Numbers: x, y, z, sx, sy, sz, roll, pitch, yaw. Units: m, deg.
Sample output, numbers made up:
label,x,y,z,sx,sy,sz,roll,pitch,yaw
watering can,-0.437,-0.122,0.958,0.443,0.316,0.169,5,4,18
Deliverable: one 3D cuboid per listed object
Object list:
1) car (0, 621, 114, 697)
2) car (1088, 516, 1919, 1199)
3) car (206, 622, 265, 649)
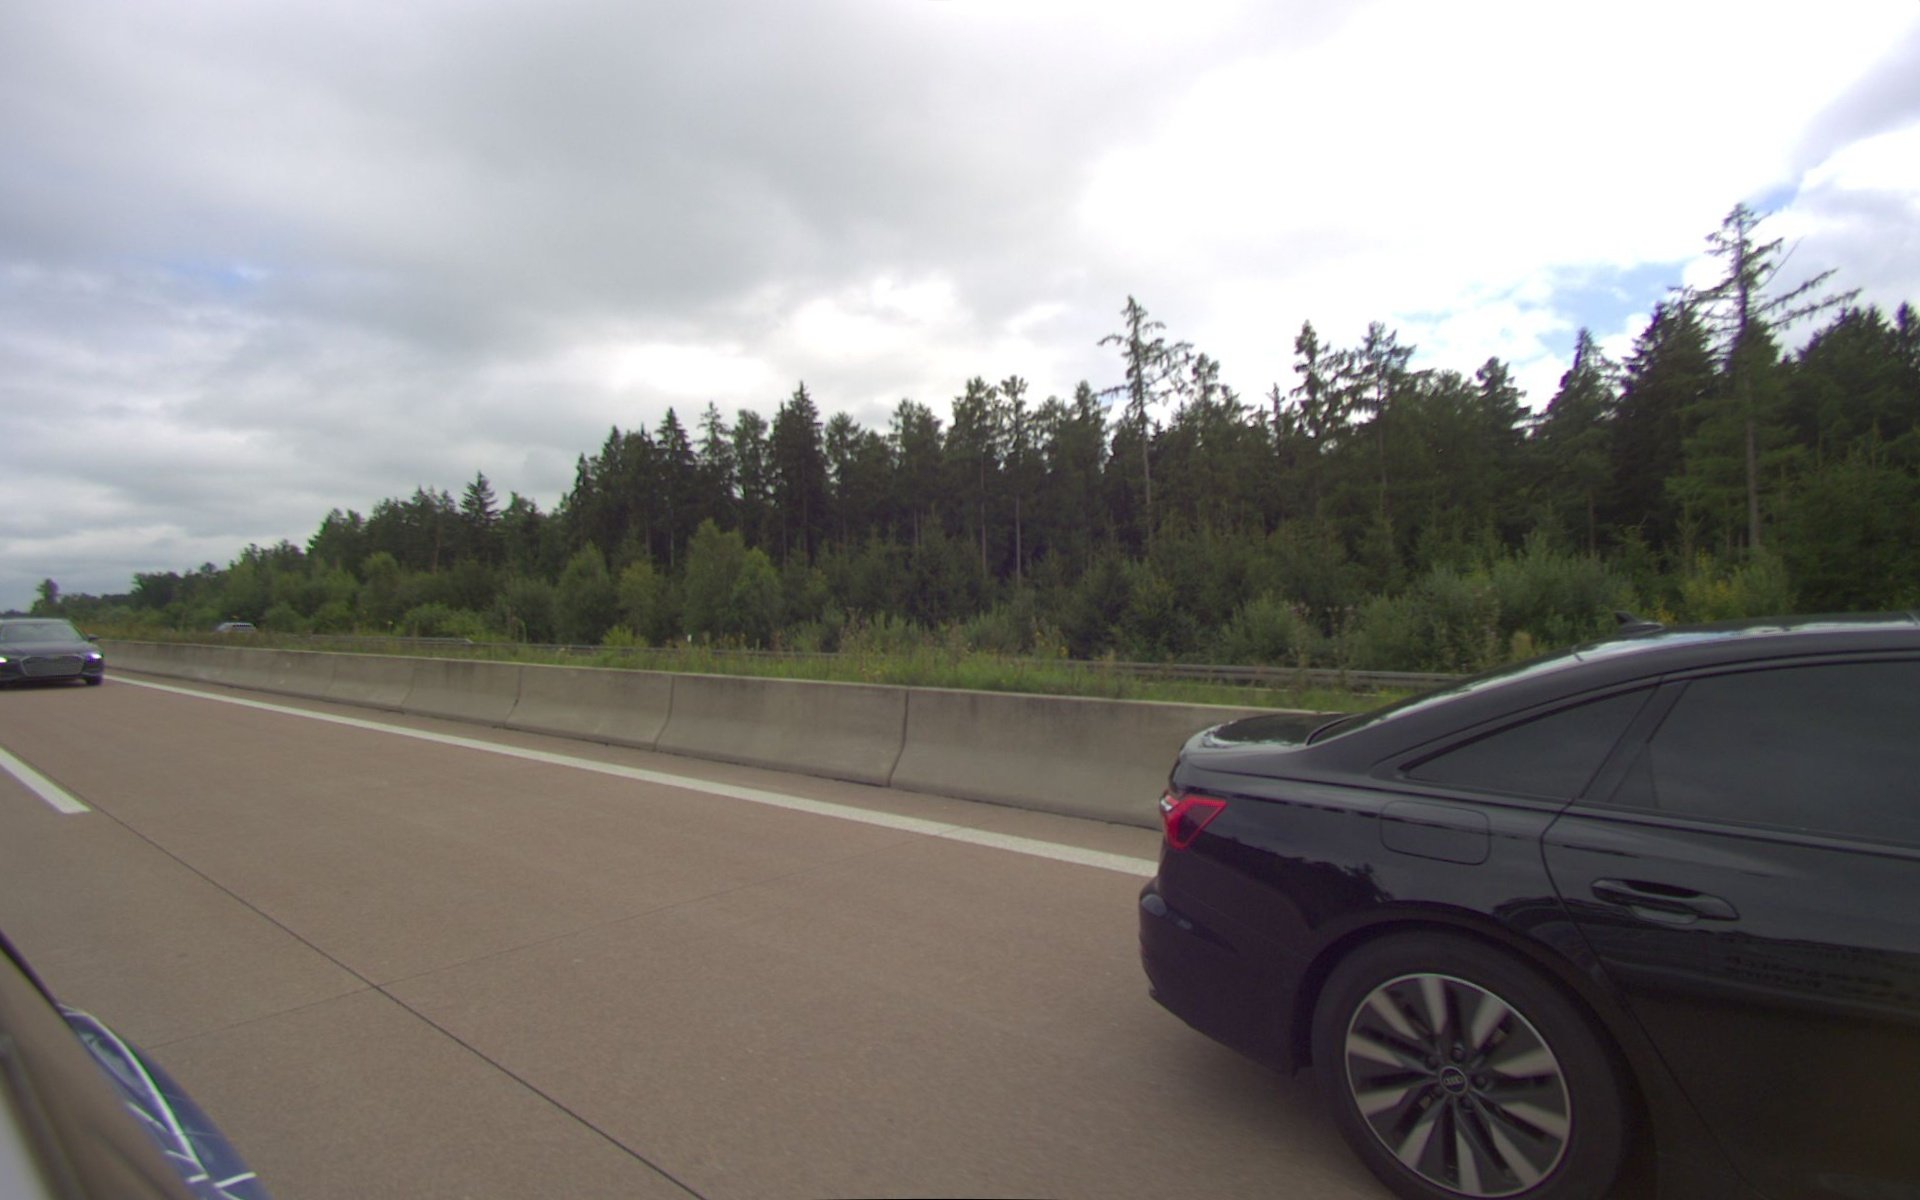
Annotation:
label,x,y,z,sx,sy,sz,roll,pitch,yaw
car,-20.941,1.259,22.832,5.450,1.503,2.037,-1,-1,41
car,3.154,0.599,1.784,5.674,1.562,2.062,-2,0,43
car,-46.065,2.250,64.333,4.884,1.693,1.973,-1,-2,41
